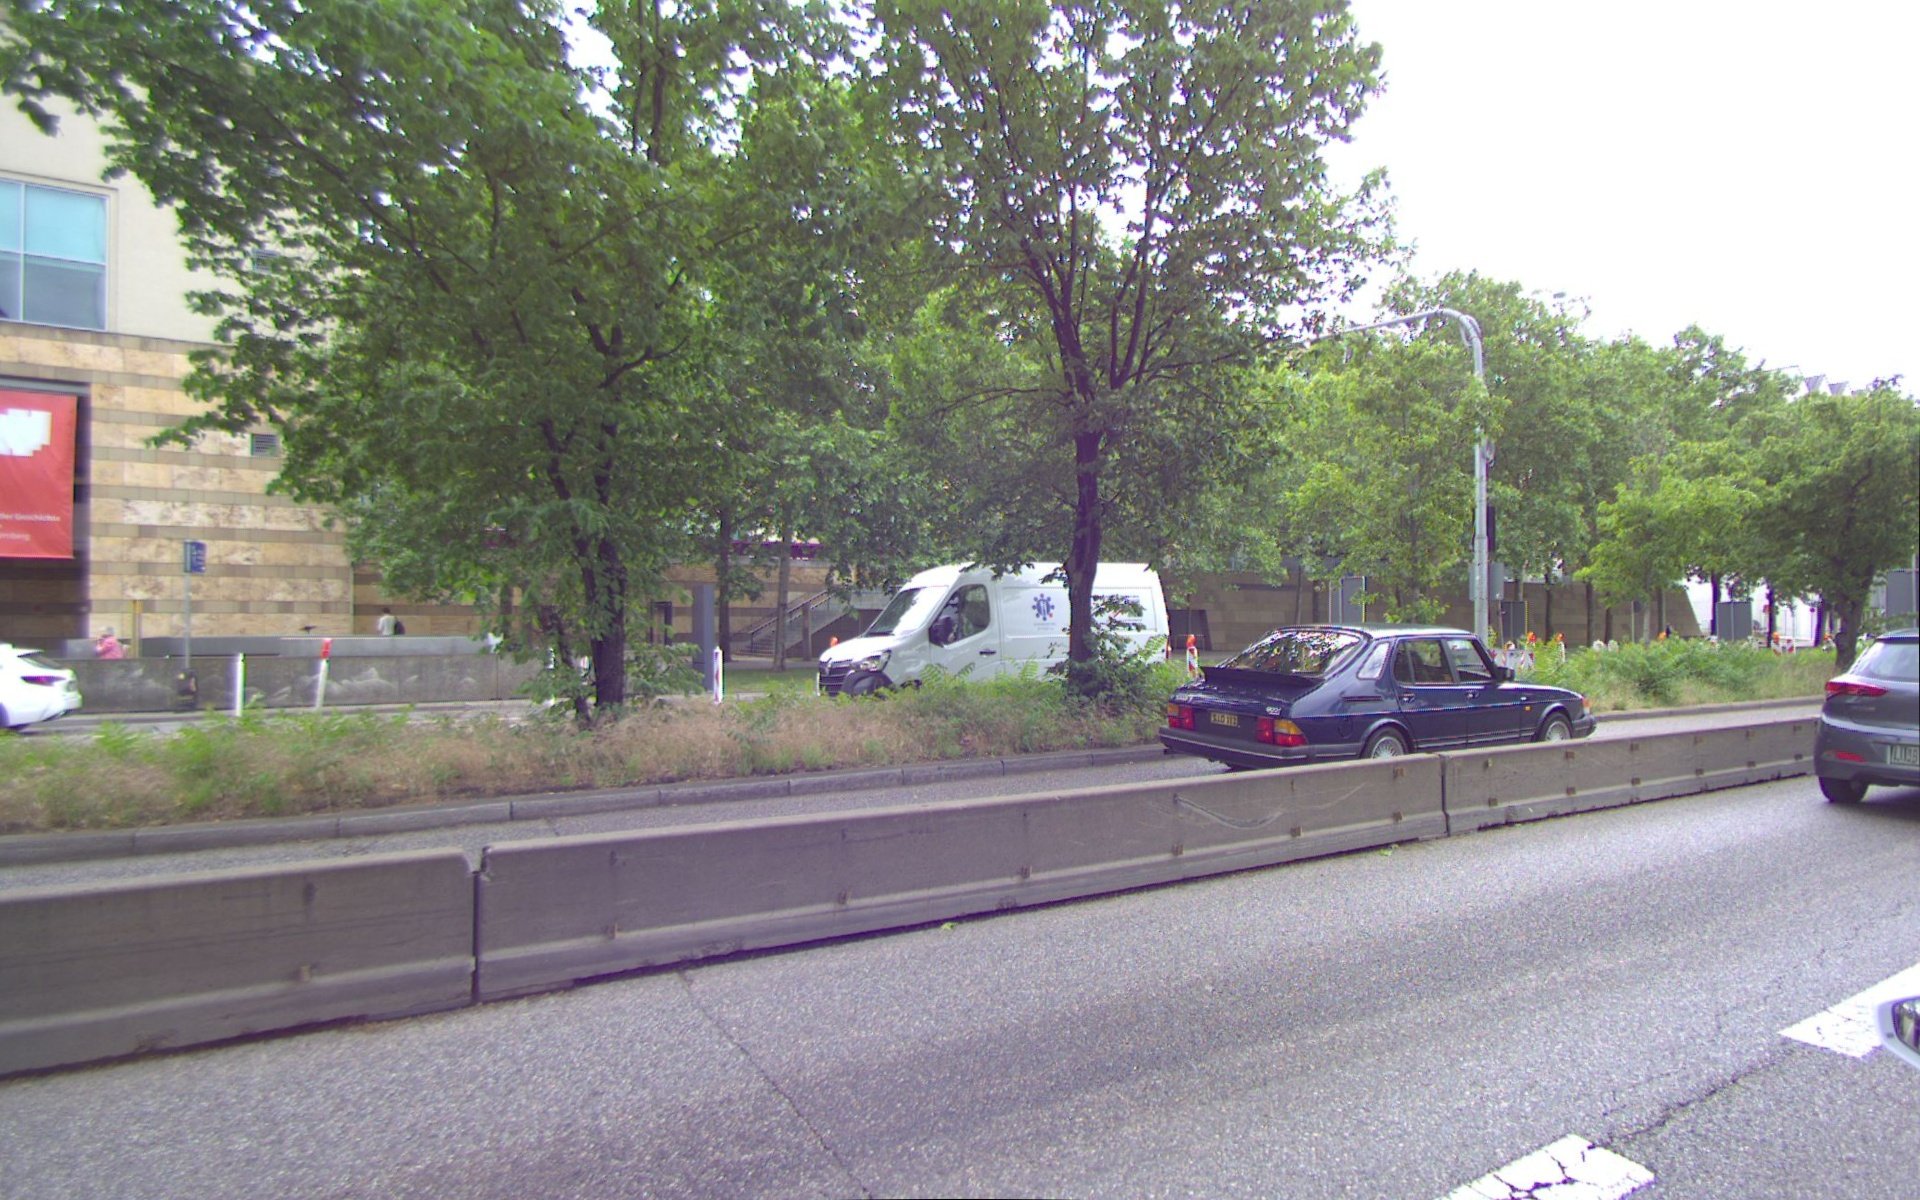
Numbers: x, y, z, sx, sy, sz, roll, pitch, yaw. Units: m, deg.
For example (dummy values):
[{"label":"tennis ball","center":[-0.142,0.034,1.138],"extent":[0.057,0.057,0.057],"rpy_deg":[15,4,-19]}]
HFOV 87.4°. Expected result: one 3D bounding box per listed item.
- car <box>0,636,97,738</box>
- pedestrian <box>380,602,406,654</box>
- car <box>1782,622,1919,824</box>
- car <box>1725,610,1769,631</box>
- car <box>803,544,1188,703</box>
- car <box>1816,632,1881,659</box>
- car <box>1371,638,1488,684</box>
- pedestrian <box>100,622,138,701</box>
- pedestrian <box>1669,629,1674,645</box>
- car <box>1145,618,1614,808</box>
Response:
[{"label":"car","center":[-16.554,1.362,15.624],"extent":[4.470,1.547,1.637],"rpy_deg":[1,-1,-31]},{"label":"pedestrian","center":[-17.373,0.857,30.783],"extent":[0.616,1.590,0.434],"rpy_deg":[1,-1,-38]},{"label":"car","center":[8.731,0.951,8.334],"extent":[3.976,1.456,1.788],"rpy_deg":[1,-1,-32]},{"label":"car","center":[72.969,1.913,93.126],"extent":[3.954,1.940,1.984],"rpy_deg":[1,-1,-31]},{"label":"car","center":[0.632,0.354,14.976],"extent":[5.513,1.995,2.105],"rpy_deg":[1,-1,-31]},{"label":"car","center":[48.694,2.492,55.025],"extent":[3.760,1.401,1.652],"rpy_deg":[1,-1,-31]},{"label":"car","center":[16.436,2.094,35.144],"extent":[3.954,1.477,1.839],"rpy_deg":[1,-1,-31]},{"label":"pedestrian","center":[-17.002,1.228,20.310],"extent":[0.522,1.552,0.557],"rpy_deg":[1,-1,-35]},{"label":"pedestrian","center":[48.699,2.533,68.764],"extent":[0.212,1.093,0.258],"rpy_deg":[2,1,42]},{"label":"car","center":[3.956,0.872,9.217],"extent":[4.491,1.385,1.670],"rpy_deg":[1,-1,-31]}]
